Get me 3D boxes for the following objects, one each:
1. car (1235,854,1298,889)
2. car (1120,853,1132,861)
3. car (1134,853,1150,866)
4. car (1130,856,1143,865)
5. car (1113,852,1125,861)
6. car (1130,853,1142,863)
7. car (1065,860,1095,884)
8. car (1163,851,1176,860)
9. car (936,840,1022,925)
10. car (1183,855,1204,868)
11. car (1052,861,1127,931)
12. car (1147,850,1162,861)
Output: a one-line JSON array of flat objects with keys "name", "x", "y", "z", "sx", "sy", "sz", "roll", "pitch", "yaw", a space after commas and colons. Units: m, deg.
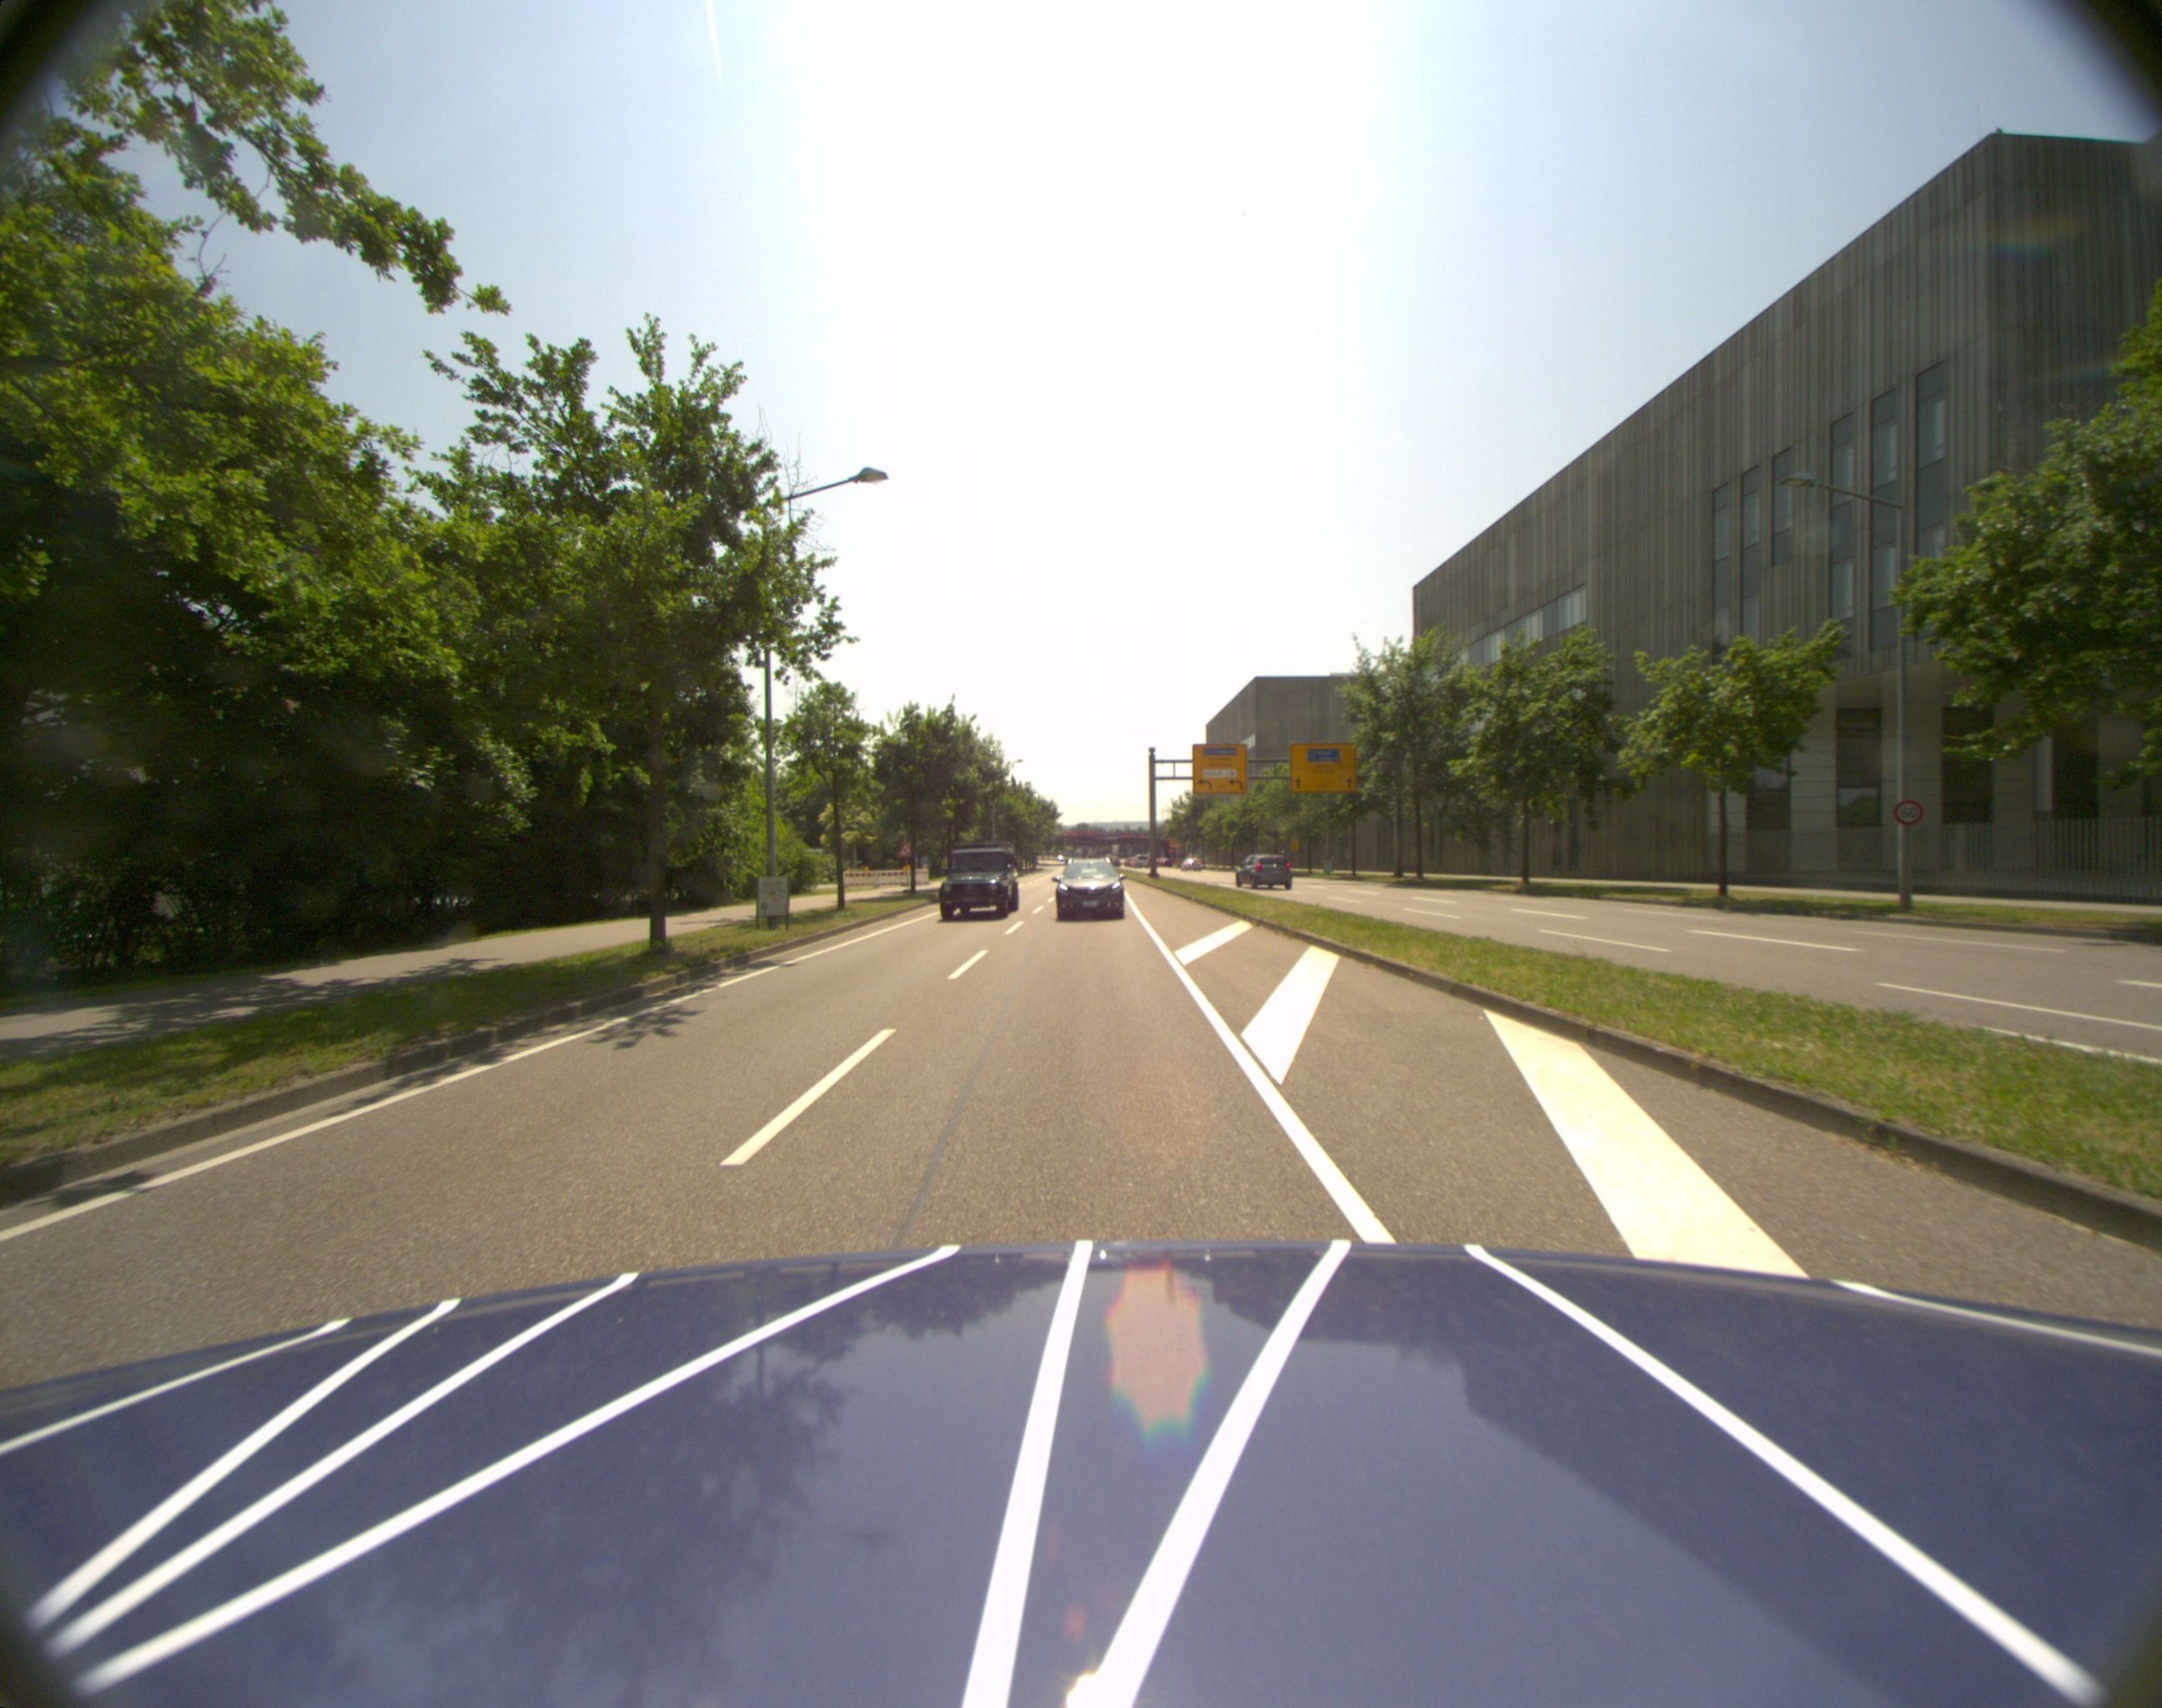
[{"name": "car", "x": 8.171, "y": 0.735, "z": 33.792, "sx": 1.712, "sy": 1.463, "sz": 3.940, "roll": 0, "pitch": 0, "yaw": -2}, {"name": "car", "x": 8.076, "y": 0.541, "z": 136.985, "sx": 1.815, "sy": 1.437, "sz": 4.249, "roll": 0, "pitch": 0, "yaw": -2}, {"name": "car", "x": 9.157, "y": 0.841, "z": 114.080, "sx": 1.914, "sy": 1.981, "sz": 4.897, "roll": 0, "pitch": 0, "yaw": -1}, {"name": "car", "x": 8.815, "y": 1.017, "z": 120.679, "sx": 1.770, "sy": 1.452, "sz": 4.144, "roll": 0, "pitch": 0, "yaw": -1}, {"name": "car", "x": 6.566, "y": 0.452, "z": 130.739, "sx": 1.815, "sy": 1.458, "sz": 4.057, "roll": -1, "pitch": 0, "yaw": 0}, {"name": "car", "x": 9.400, "y": 0.635, "z": 130.292, "sx": 1.807, "sy": 1.653, "sz": 4.573, "roll": 0, "pitch": 0, "yaw": 2}, {"name": "car", "x": -0.075, "y": 1.157, "z": 49.563, "sx": 1.817, "sy": 1.456, "sz": 4.000, "roll": -1, "pitch": 0, "yaw": 0}, {"name": "car", "x": 15.327, "y": 0.292, "z": 131.695, "sx": 1.625, "sy": 1.447, "sz": 4.017, "roll": -1, "pitch": 0, "yaw": 0}, {"name": "car", "x": -2.793, "y": 0.712, "z": 21.775, "sx": 1.841, "sy": 2.141, "sz": 4.557, "roll": -1, "pitch": 0, "yaw": -1}, {"name": "car", "x": 12.655, "y": 0.881, "z": 85.710, "sx": 1.815, "sy": 1.419, "sz": 4.359, "roll": 0, "pitch": 0, "yaw": 0}, {"name": "car", "x": 0.270, "y": 0.963, "z": 19.384, "sx": 1.619, "sy": 1.502, "sz": 4.459, "roll": -3, "pitch": -1, "yaw": 2}, {"name": "car", "x": 12.605, "y": 0.205, "z": 130.235, "sx": 1.815, "sy": 1.736, "sz": 4.645, "roll": -1, "pitch": 0, "yaw": -2}]
